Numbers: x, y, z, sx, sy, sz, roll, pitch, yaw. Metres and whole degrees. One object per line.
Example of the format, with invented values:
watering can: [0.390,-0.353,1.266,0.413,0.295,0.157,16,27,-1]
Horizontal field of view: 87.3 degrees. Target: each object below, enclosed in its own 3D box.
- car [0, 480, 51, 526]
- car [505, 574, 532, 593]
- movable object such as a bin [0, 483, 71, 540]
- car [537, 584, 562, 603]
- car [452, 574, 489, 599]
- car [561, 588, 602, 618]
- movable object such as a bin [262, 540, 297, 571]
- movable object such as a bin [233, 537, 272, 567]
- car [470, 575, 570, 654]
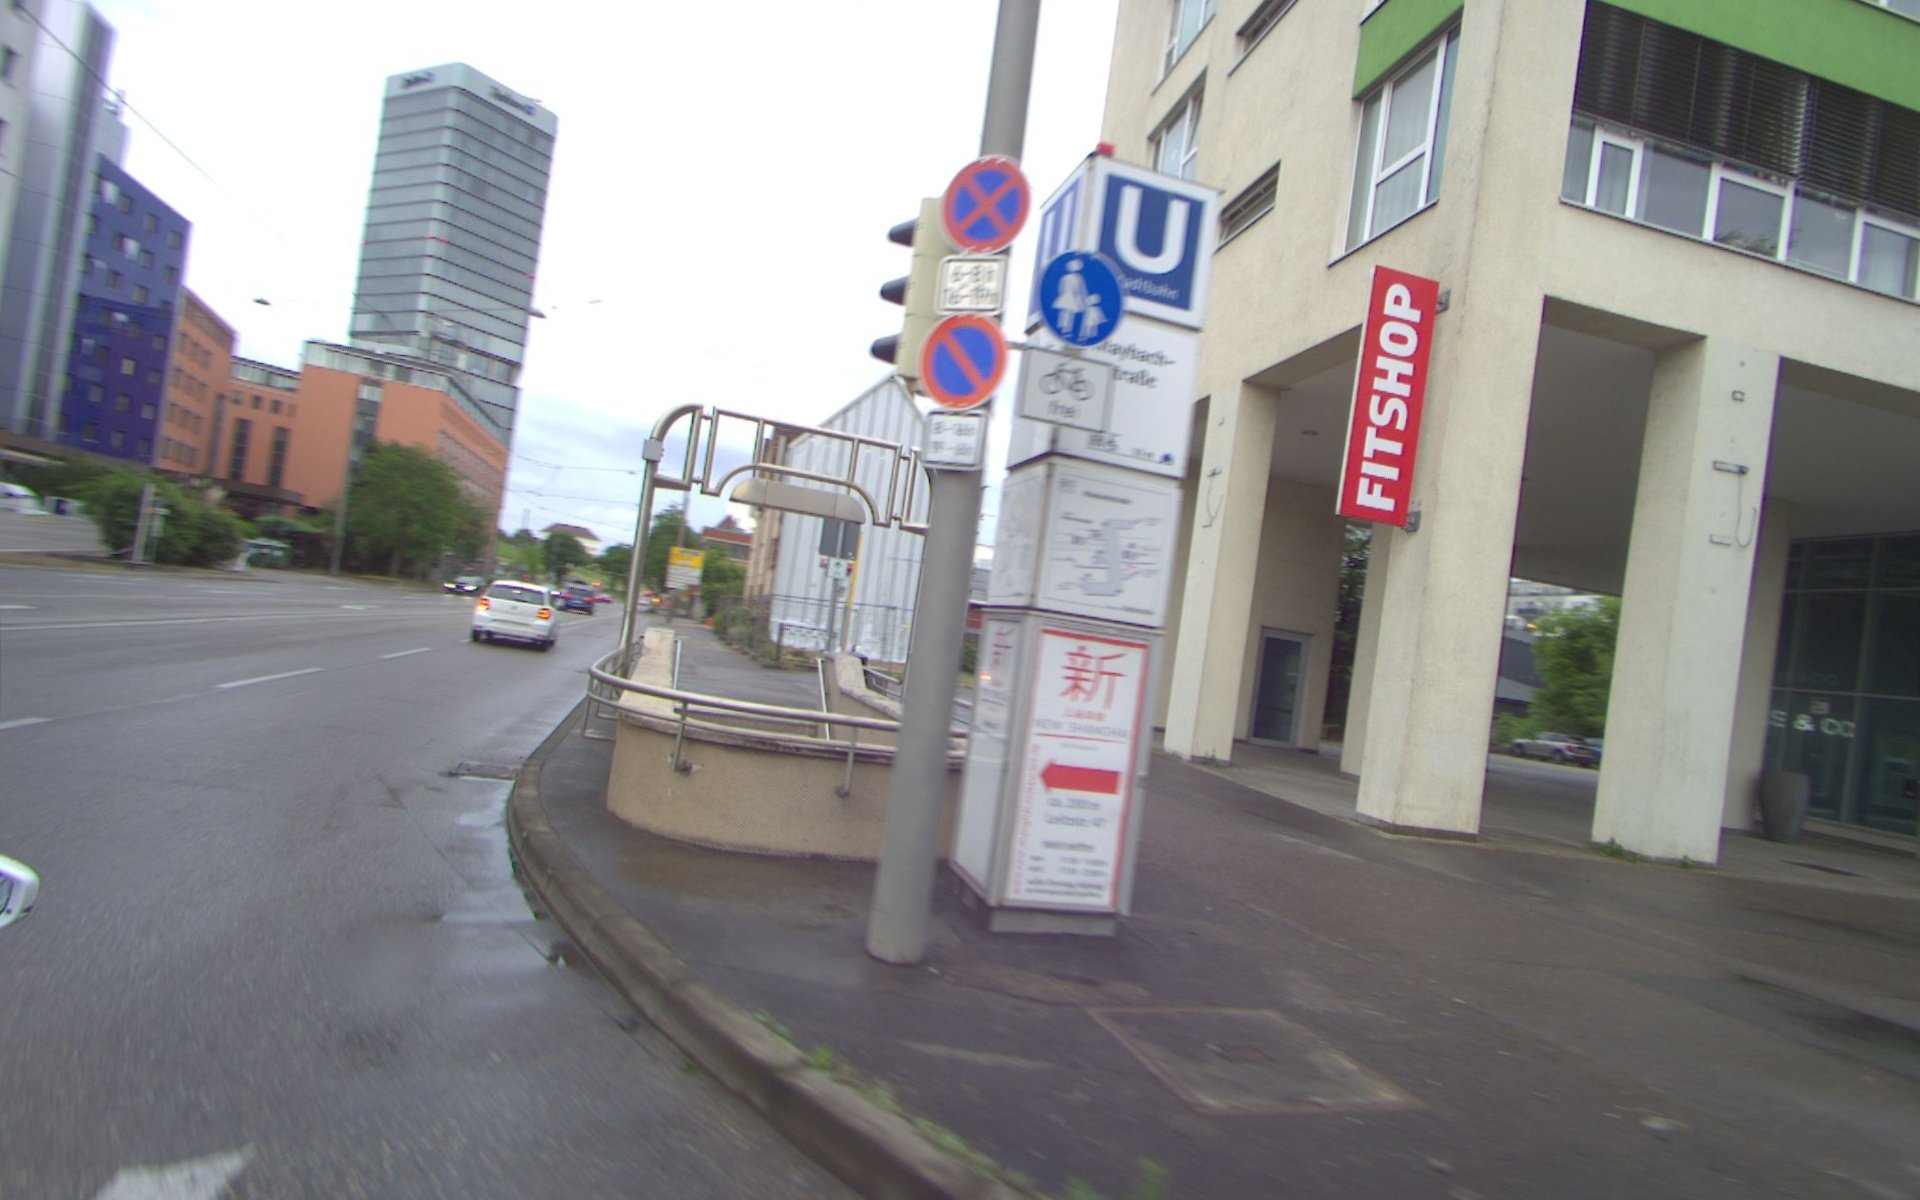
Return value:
car: [-51.894,-5.382,53.532,4.656,2.036,1.889,7,-3,-16]
car: [-42.414,-1.556,96.760,1.687,1.585,4.022,6,-1,-16]
movable object such as a bin: [-53.157,-5.084,55.479,5.558,2.657,2.157,7,-3,-17]
car: [-40.706,-0.675,99.820,1.735,1.575,4.435,6,-1,-17]
car: [-34.991,-0.926,72.010,1.714,1.494,4.681,7,-2,-20]
car: [-24.181,0.201,64.425,1.971,1.591,3.989,9,-3,-17]
movable object such as a bin: [-38.548,-2.497,56.999,1.377,1.507,0.946,7,-3,-26]
movable object such as a bin: [-40.135,-2.716,57.095,1.370,1.507,0.952,6,-3,-5]
car: [-10.347,0.335,23.865,1.653,1.490,3.766,9,-3,-18]
